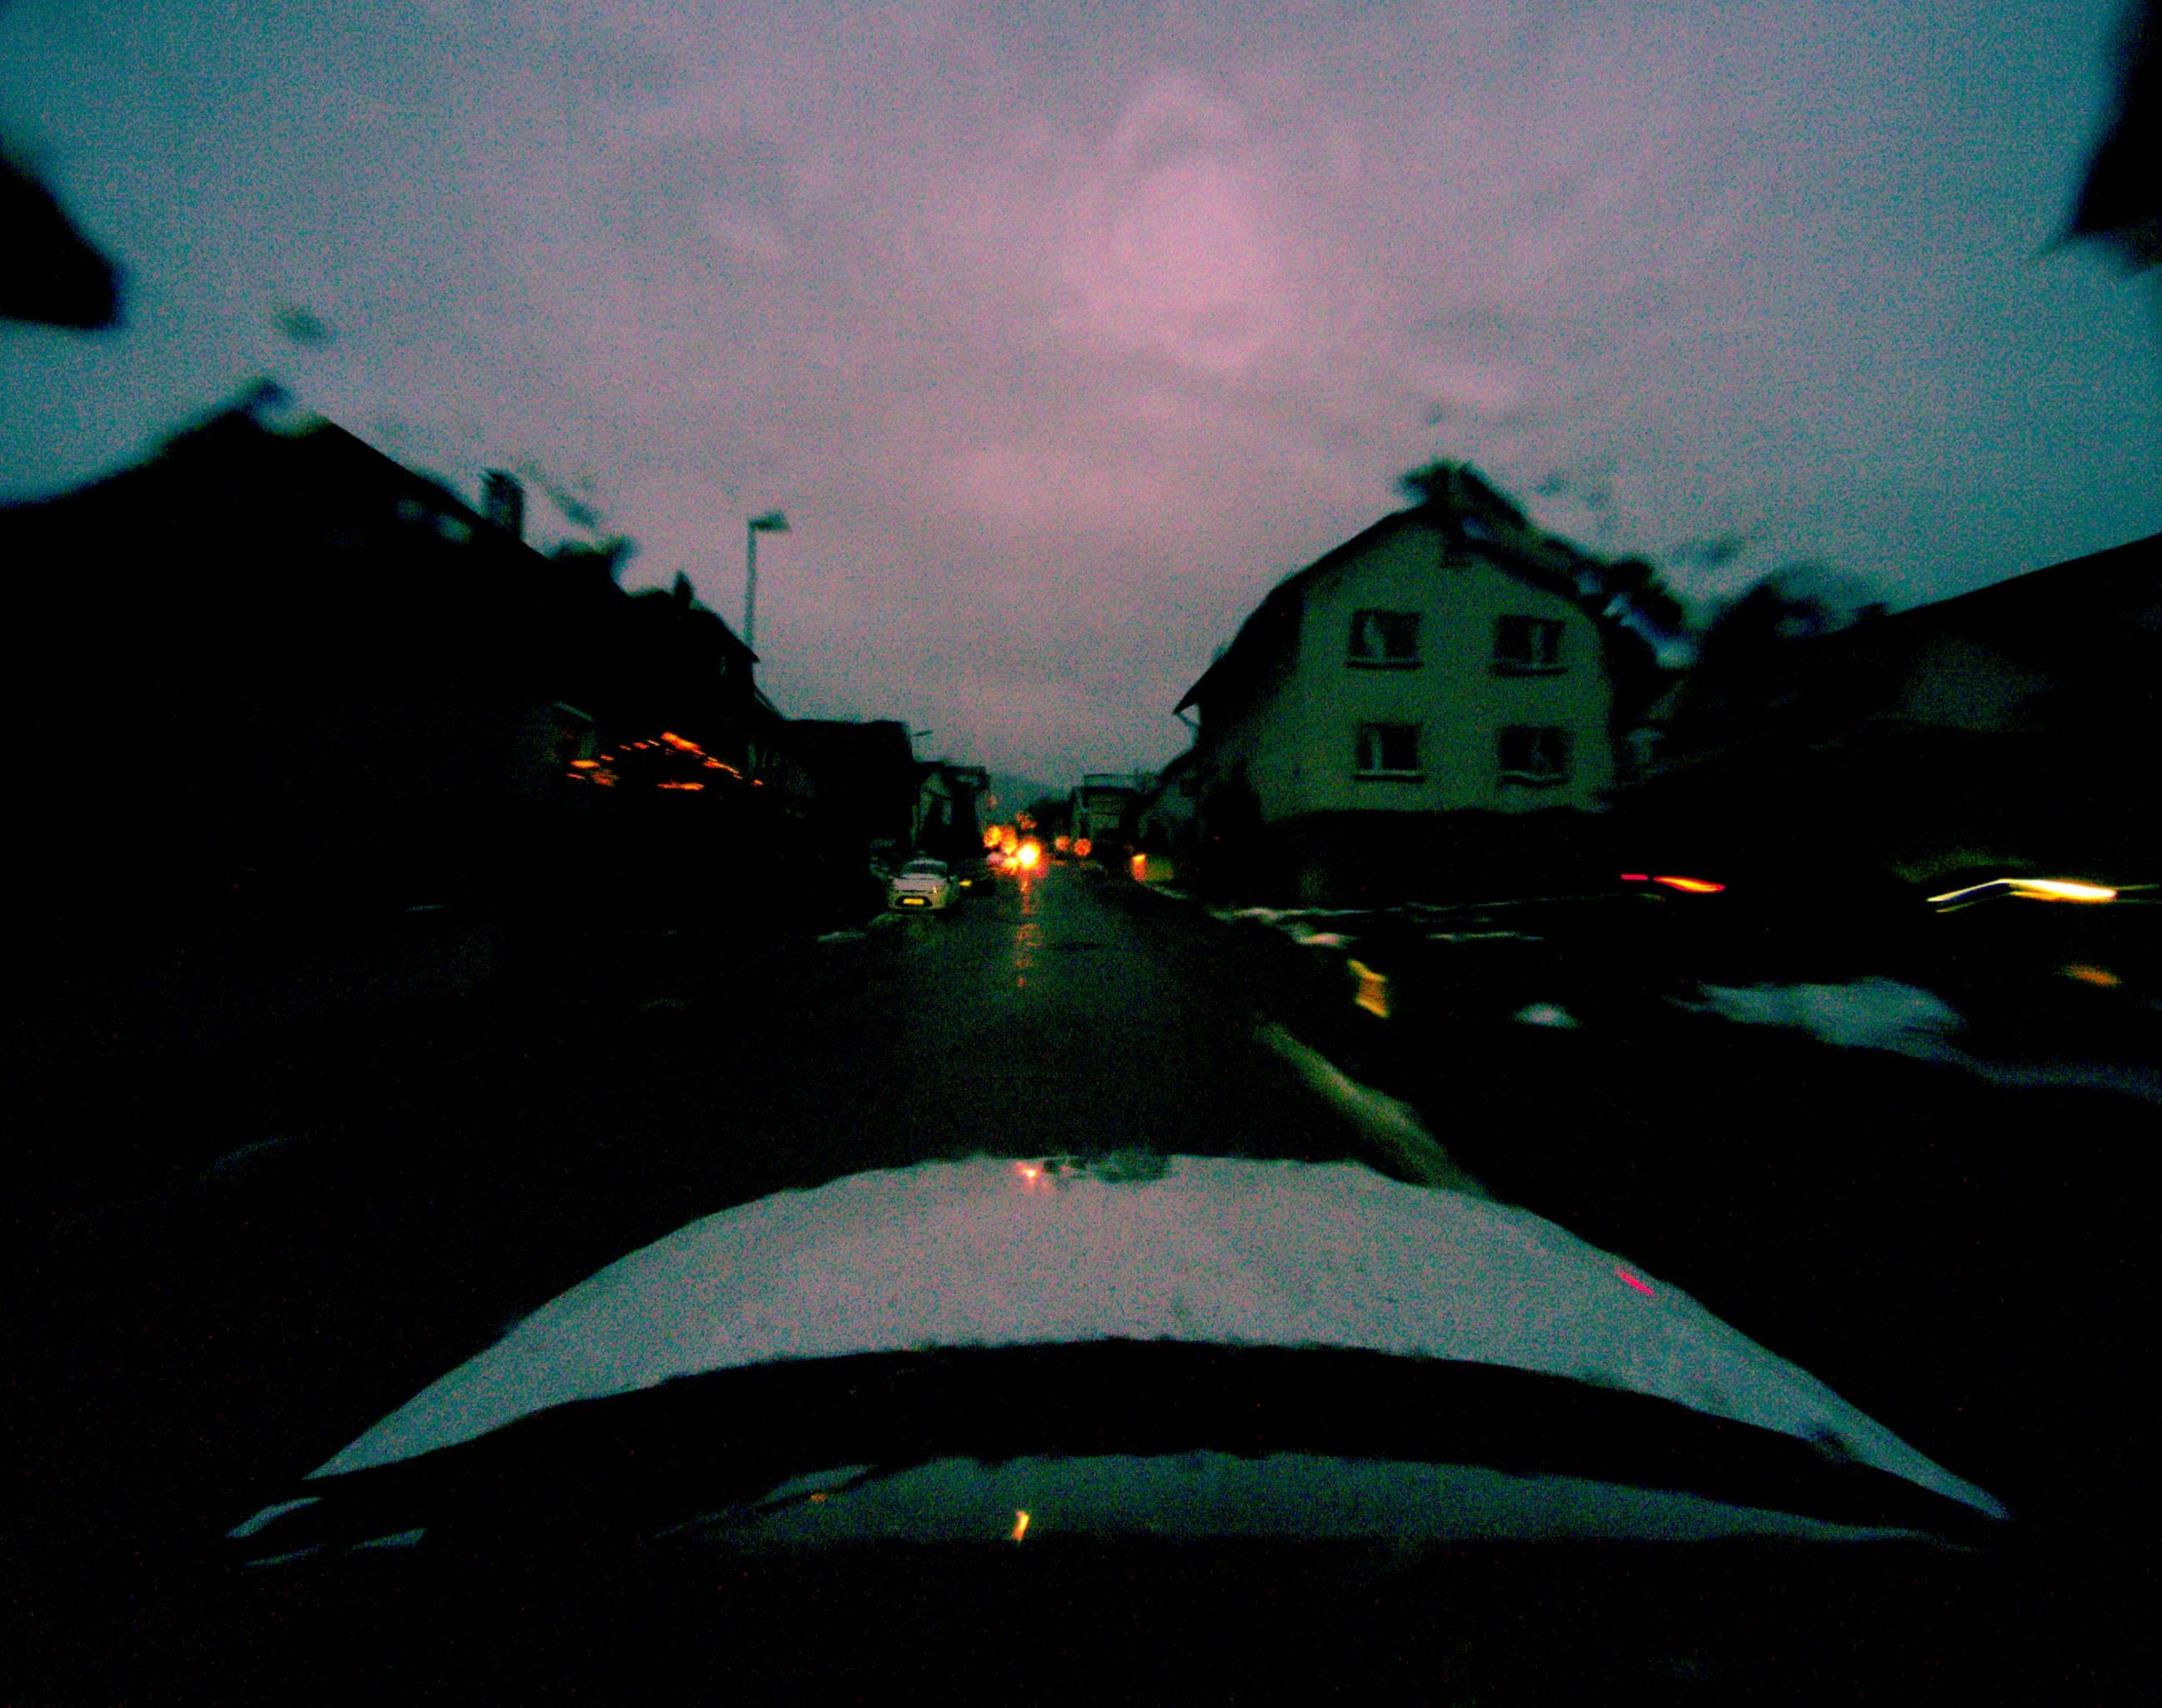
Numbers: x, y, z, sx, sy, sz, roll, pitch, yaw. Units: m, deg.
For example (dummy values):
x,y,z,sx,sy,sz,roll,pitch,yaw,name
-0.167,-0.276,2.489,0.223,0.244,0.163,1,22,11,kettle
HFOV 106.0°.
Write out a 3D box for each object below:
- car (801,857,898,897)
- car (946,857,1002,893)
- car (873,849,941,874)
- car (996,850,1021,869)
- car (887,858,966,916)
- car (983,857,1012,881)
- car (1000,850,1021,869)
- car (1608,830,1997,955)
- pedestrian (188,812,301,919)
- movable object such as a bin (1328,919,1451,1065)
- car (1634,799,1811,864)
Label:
x,y,z,sx,sy,sz,roll,pitch,yaw,name
-9.438,0.915,33.382,3.451,1.528,1.774,0,0,1,car
-4.521,0.850,35.014,1.873,1.394,5.070,-2,0,-2,car
-11.335,0.473,53.135,3.972,1.618,1.889,0,0,1,car
-6.223,0.429,69.998,1.789,1.503,4.307,-3,1,-1,car
-4.253,0.851,22.859,1.614,1.438,3.653,-2,0,-2,car
-5.886,1.013,57.794,1.679,1.584,4.172,-2,0,-2,car
-7.229,0.541,83.626,1.821,1.835,4.341,-3,1,-3,car
10.511,0.528,12.148,3.970,1.618,2.002,-1,0,3,car
-14.241,0.200,13.888,0.810,1.732,0.993,3,-2,18,pedestrian
2.170,0.951,5.798,0.634,0.917,0.686,-1,0,3,movable object such as a bin
19.007,-0.586,24.406,1.990,1.772,3.993,0,-1,-4,car
